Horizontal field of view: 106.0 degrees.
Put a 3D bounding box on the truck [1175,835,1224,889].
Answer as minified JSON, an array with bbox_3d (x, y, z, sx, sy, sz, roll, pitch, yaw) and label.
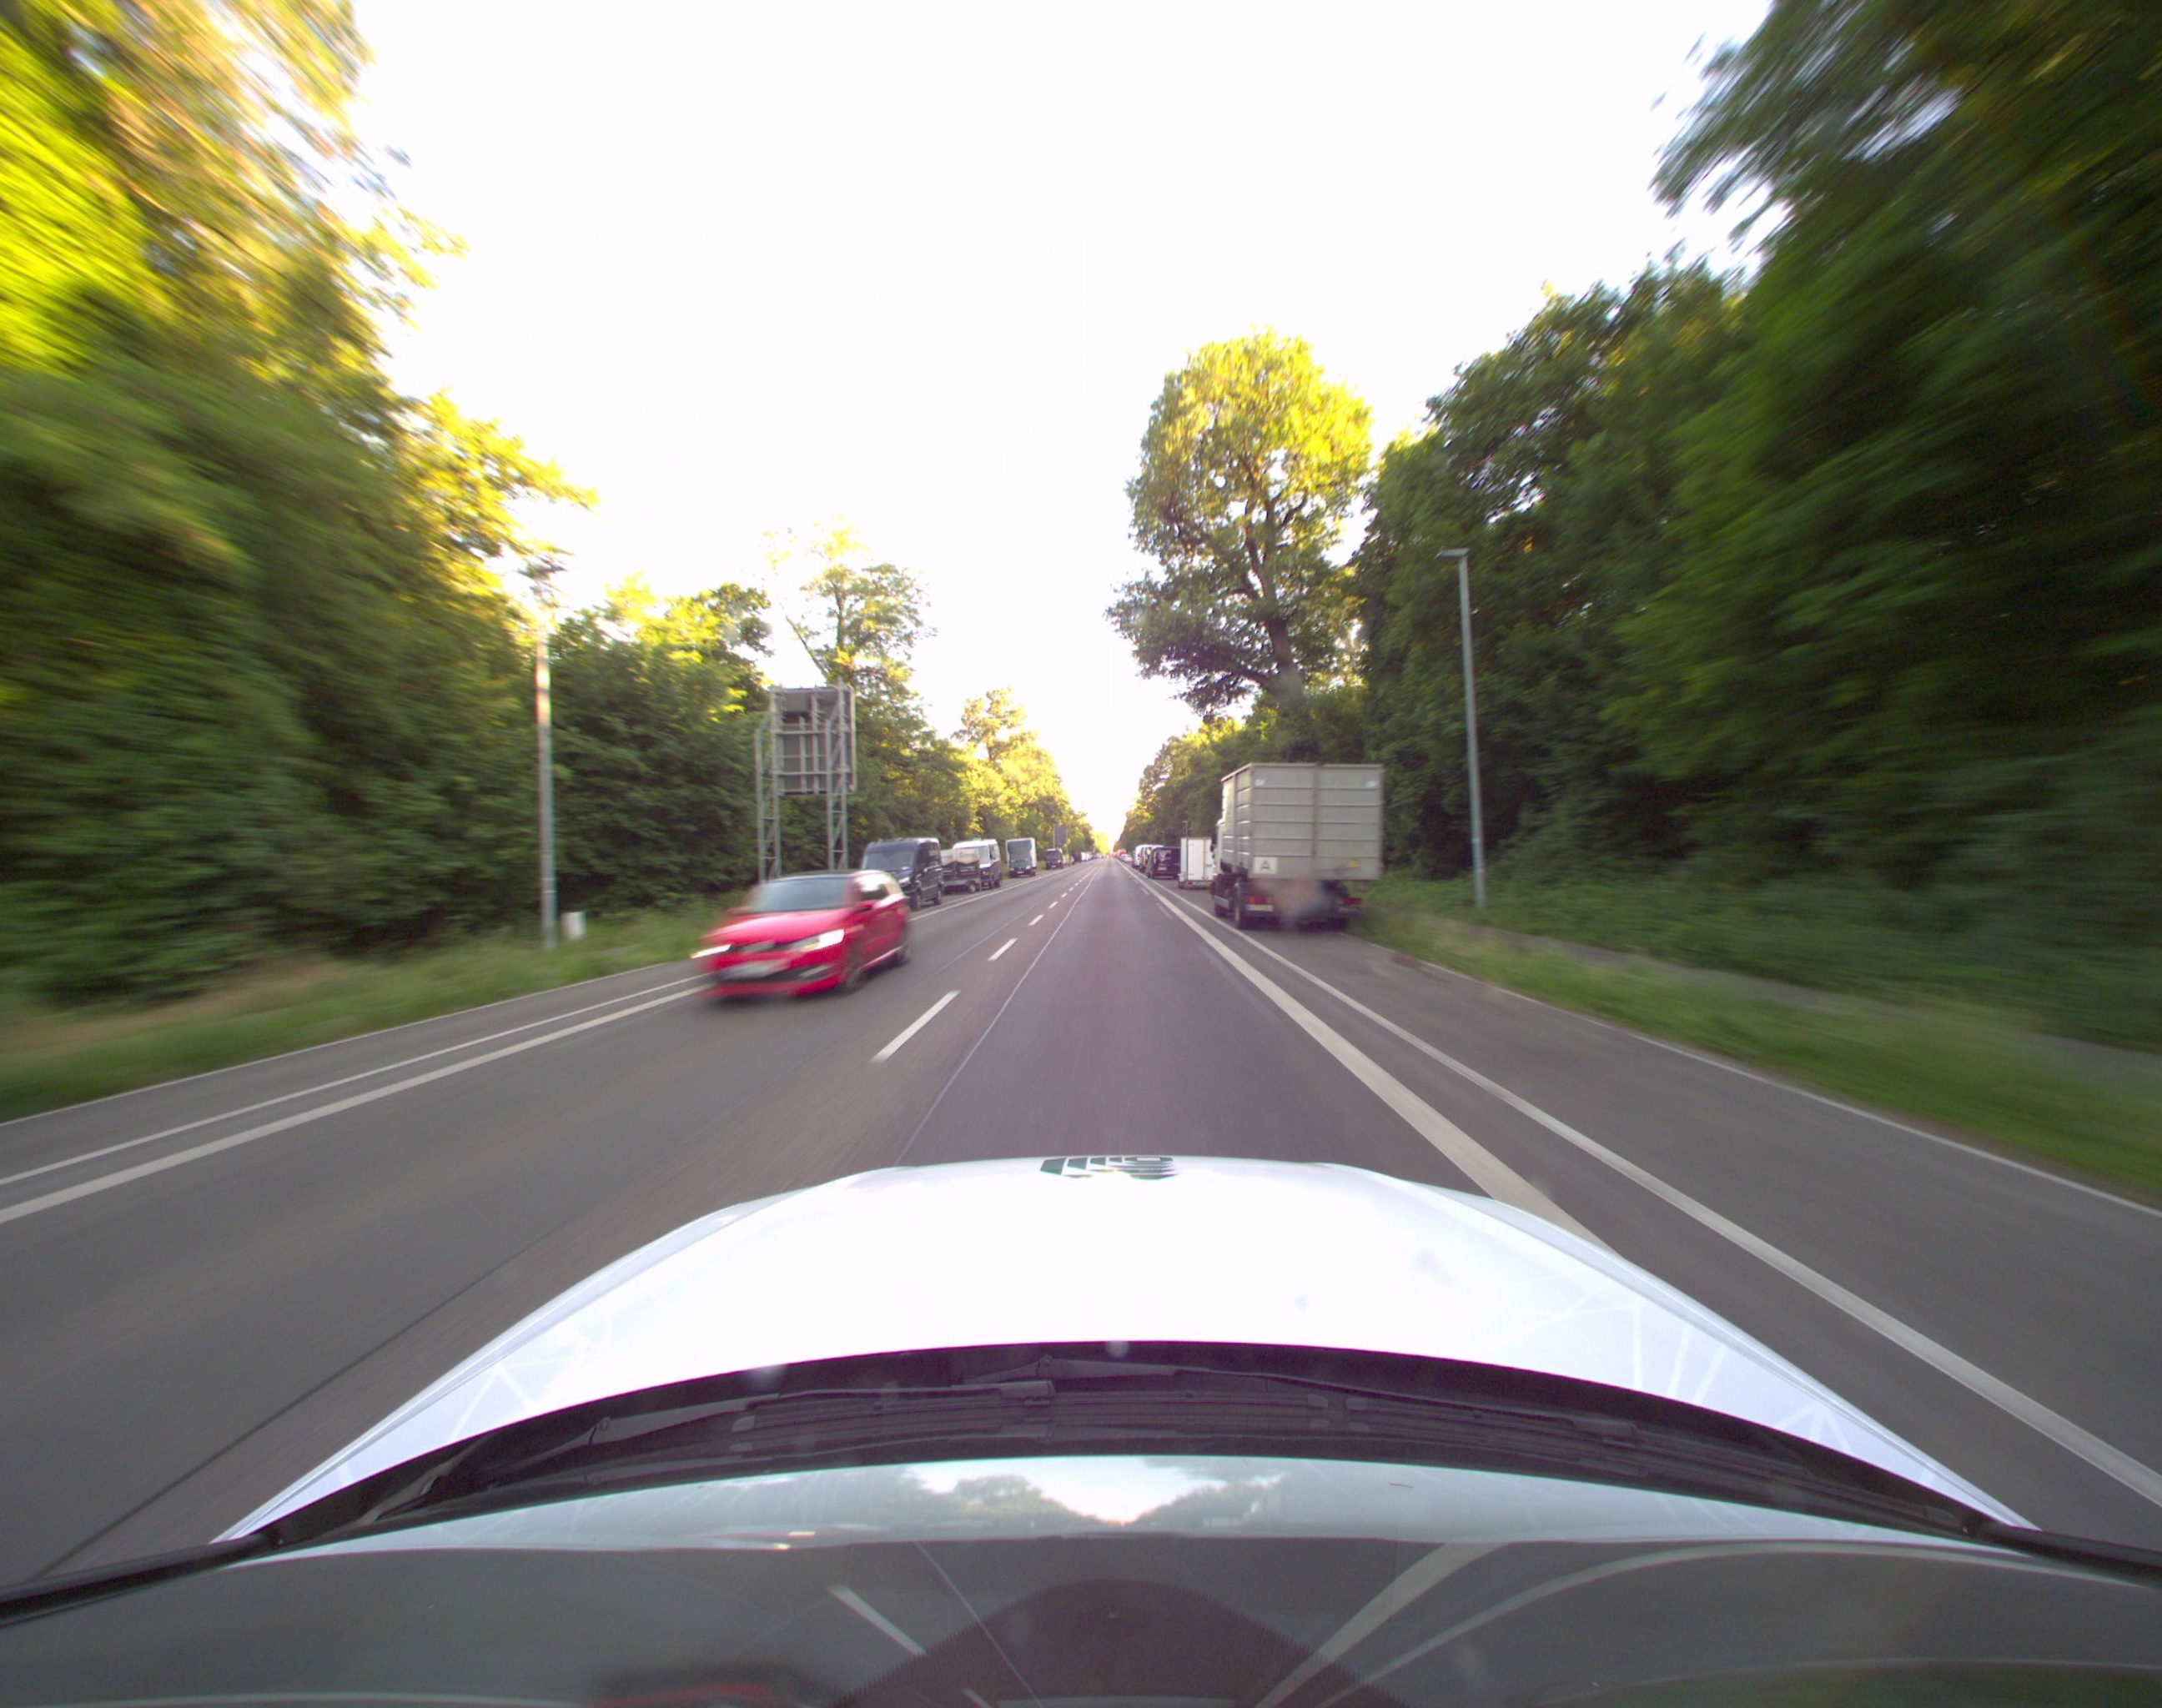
[{"bbox_3d":[5.353,0.343,37.176,1.877,2.283,4.304,-1,0,4],"label":"truck"}]

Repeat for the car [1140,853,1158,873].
[{"bbox_3d":[5.416,0.747,64.914,1.143,1.546,2.753,-1,0,0],"label":"car"}]

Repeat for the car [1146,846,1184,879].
[{"bbox_3d":[5.278,0.537,51.687,1.987,1.955,4.298,-1,0,0],"label":"car"}]

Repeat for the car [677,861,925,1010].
[{"bbox_3d":[-3.404,0.900,10.785,1.676,1.486,4.040,-3,0,2],"label":"car"}]

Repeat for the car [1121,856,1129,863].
[{"bbox_3d":[8.045,0.959,148.927,1.422,1.222,3.413,-4,0,2],"label":"car"}]

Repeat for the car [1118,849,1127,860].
[{"bbox_3d":[11.720,0.246,230.850,2.305,3.093,5.641,0,0,2],"label":"car"}]

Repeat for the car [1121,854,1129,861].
[{"bbox_3d":[9.019,0.737,166.656,1.639,1.486,4.002,0,0,2],"label":"car"}]

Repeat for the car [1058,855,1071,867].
[{"bbox_3d":[-2.531,1.062,125.790,1.765,1.672,4.000,0,0,0],"label":"car"}]

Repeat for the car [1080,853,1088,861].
[{"bbox_3d":[0.739,0.810,212.061,1.988,2.014,3.998,-2,-2,-1],"label":"car"}]

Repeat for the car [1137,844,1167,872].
[{"bbox_3d":[6.150,0.339,70.945,2.135,2.313,4.298,-1,0,0],"label":"car"}]

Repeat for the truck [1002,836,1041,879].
[{"bbox_3d":[-5.003,0.286,69.884,2.495,3.328,6.844,-3,0,2],"label":"truck"}]

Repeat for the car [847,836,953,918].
[{"bbox_3d":[-6.010,0.700,27.875,1.986,2.364,5.768,-4,0,2],"label":"car"}]

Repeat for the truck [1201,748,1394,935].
[{"bbox_3d":[4.345,-0.202,17.948,2.578,3.255,7.225,-1,0,3],"label":"truck"}]

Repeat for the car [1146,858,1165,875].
[{"bbox_3d":[5.489,0.913,60.359,1.143,1.252,2.753,-1,0,0],"label":"car"}]

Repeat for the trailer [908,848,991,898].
[{"bbox_3d":[-6.191,0.874,38.784,1.945,2.155,3.952,-3,0,23],"label":"trailer"}]

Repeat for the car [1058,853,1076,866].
[{"bbox_3d":[-2.324,0.925,134.206,1.685,2.013,4.020,0,0,20],"label":"car"}]

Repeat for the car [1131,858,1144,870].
[{"bbox_3d":[6.227,1.106,89.637,1.143,1.252,2.753,-1,0,0],"label":"car"}]

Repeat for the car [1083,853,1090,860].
[{"bbox_3d":[1.755,0.846,250.222,1.985,2.013,4.003,-3,0,3],"label":"car"}]

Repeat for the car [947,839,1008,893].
[{"bbox_3d":[-5.531,0.596,44.302,2.241,2.647,5.723,-3,0,2],"label":"car"}]

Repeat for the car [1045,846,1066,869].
[{"bbox_3d":[-3.260,0.475,104.425,2.178,2.788,5.336,-3,0,2],"label":"car"}]

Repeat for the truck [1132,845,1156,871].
[{"bbox_3d":[6.435,0.413,83.838,2.135,2.660,4.298,-1,0,0],"label":"truck"}]
